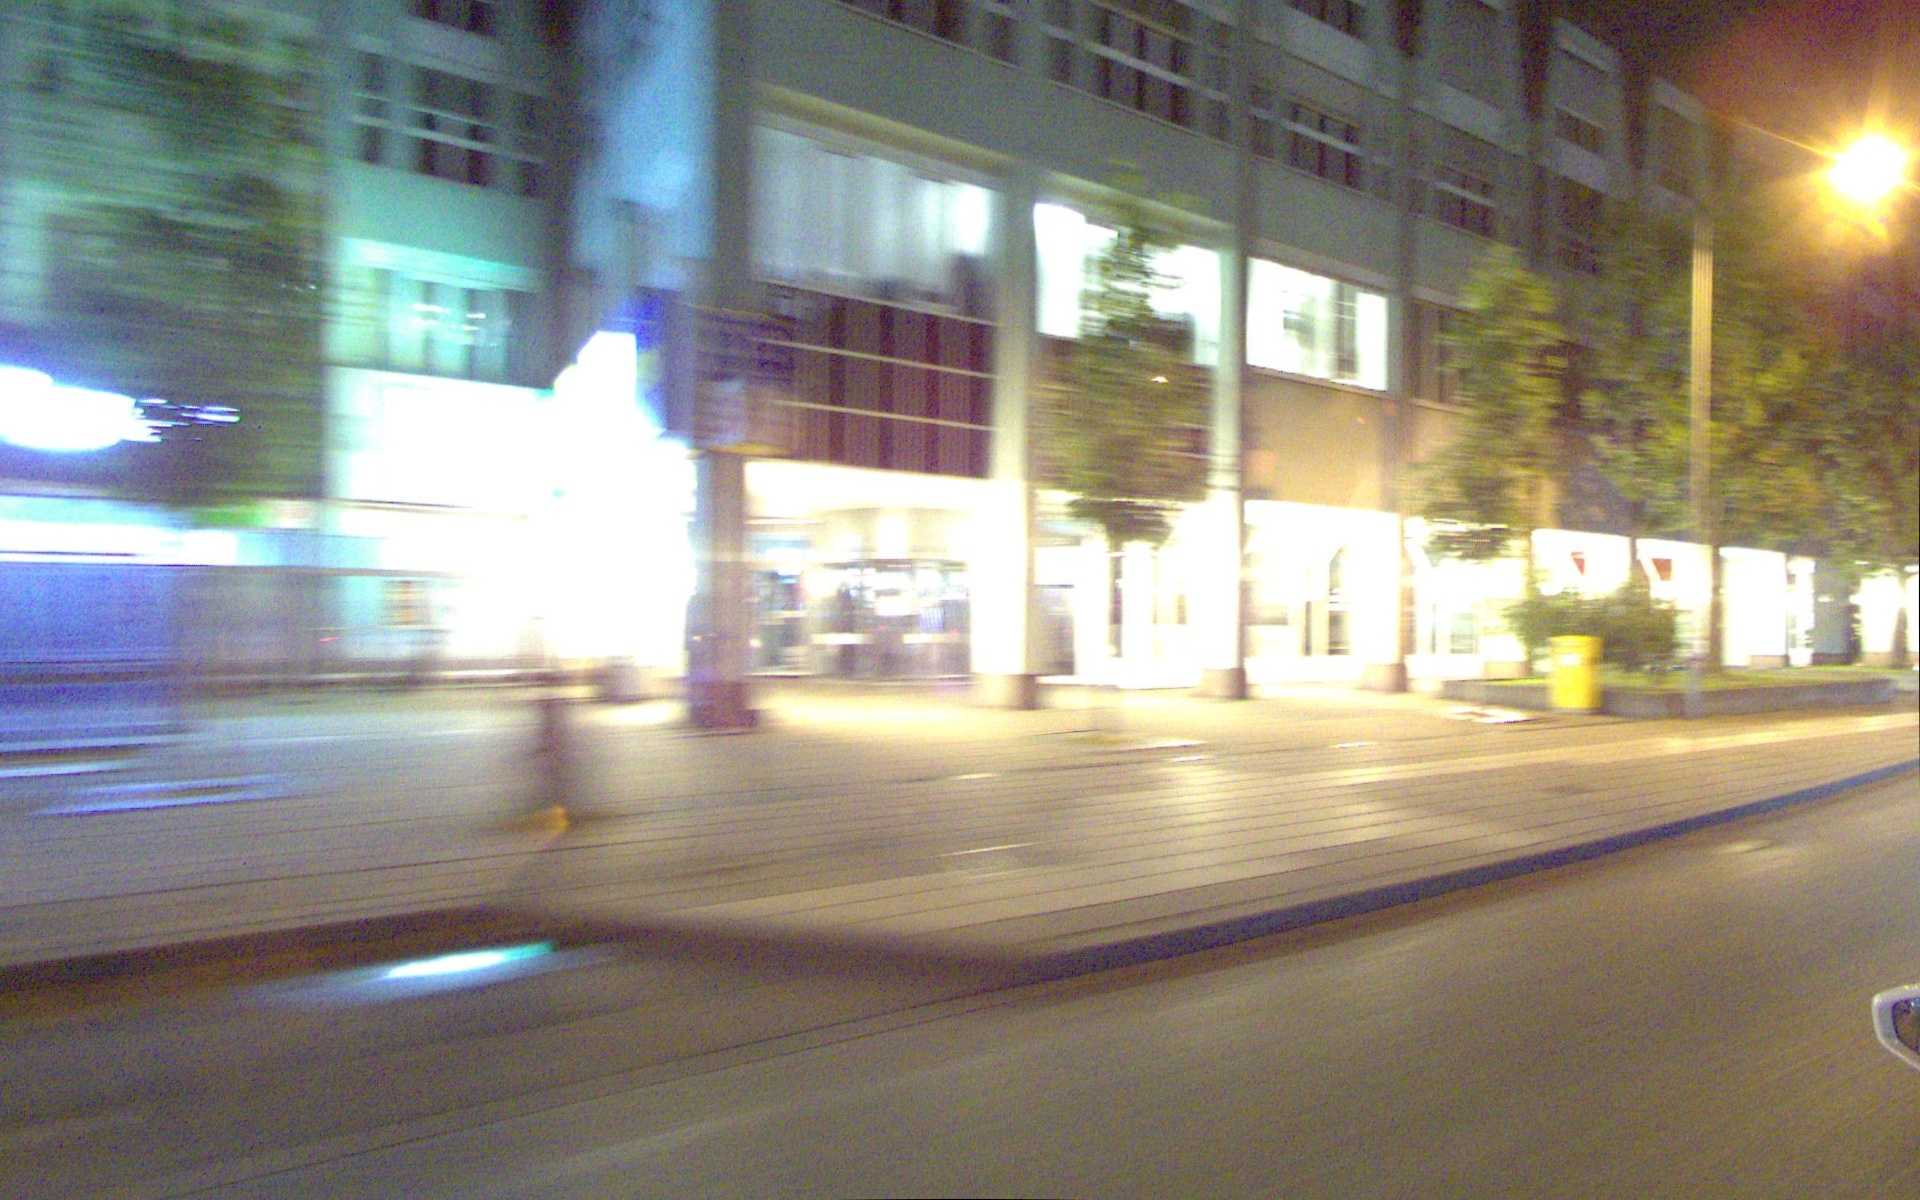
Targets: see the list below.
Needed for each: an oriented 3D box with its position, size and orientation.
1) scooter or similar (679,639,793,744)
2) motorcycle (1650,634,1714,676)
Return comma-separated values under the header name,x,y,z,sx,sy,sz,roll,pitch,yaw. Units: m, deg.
name,x,y,z,sx,sy,sz,roll,pitch,yaw
scooter or similar,-2.771,1.108,12.477,1.327,1.237,0.386,1,-2,-29
motorcycle,18.152,1.371,25.239,1.650,1.034,0.477,1,-1,-21
